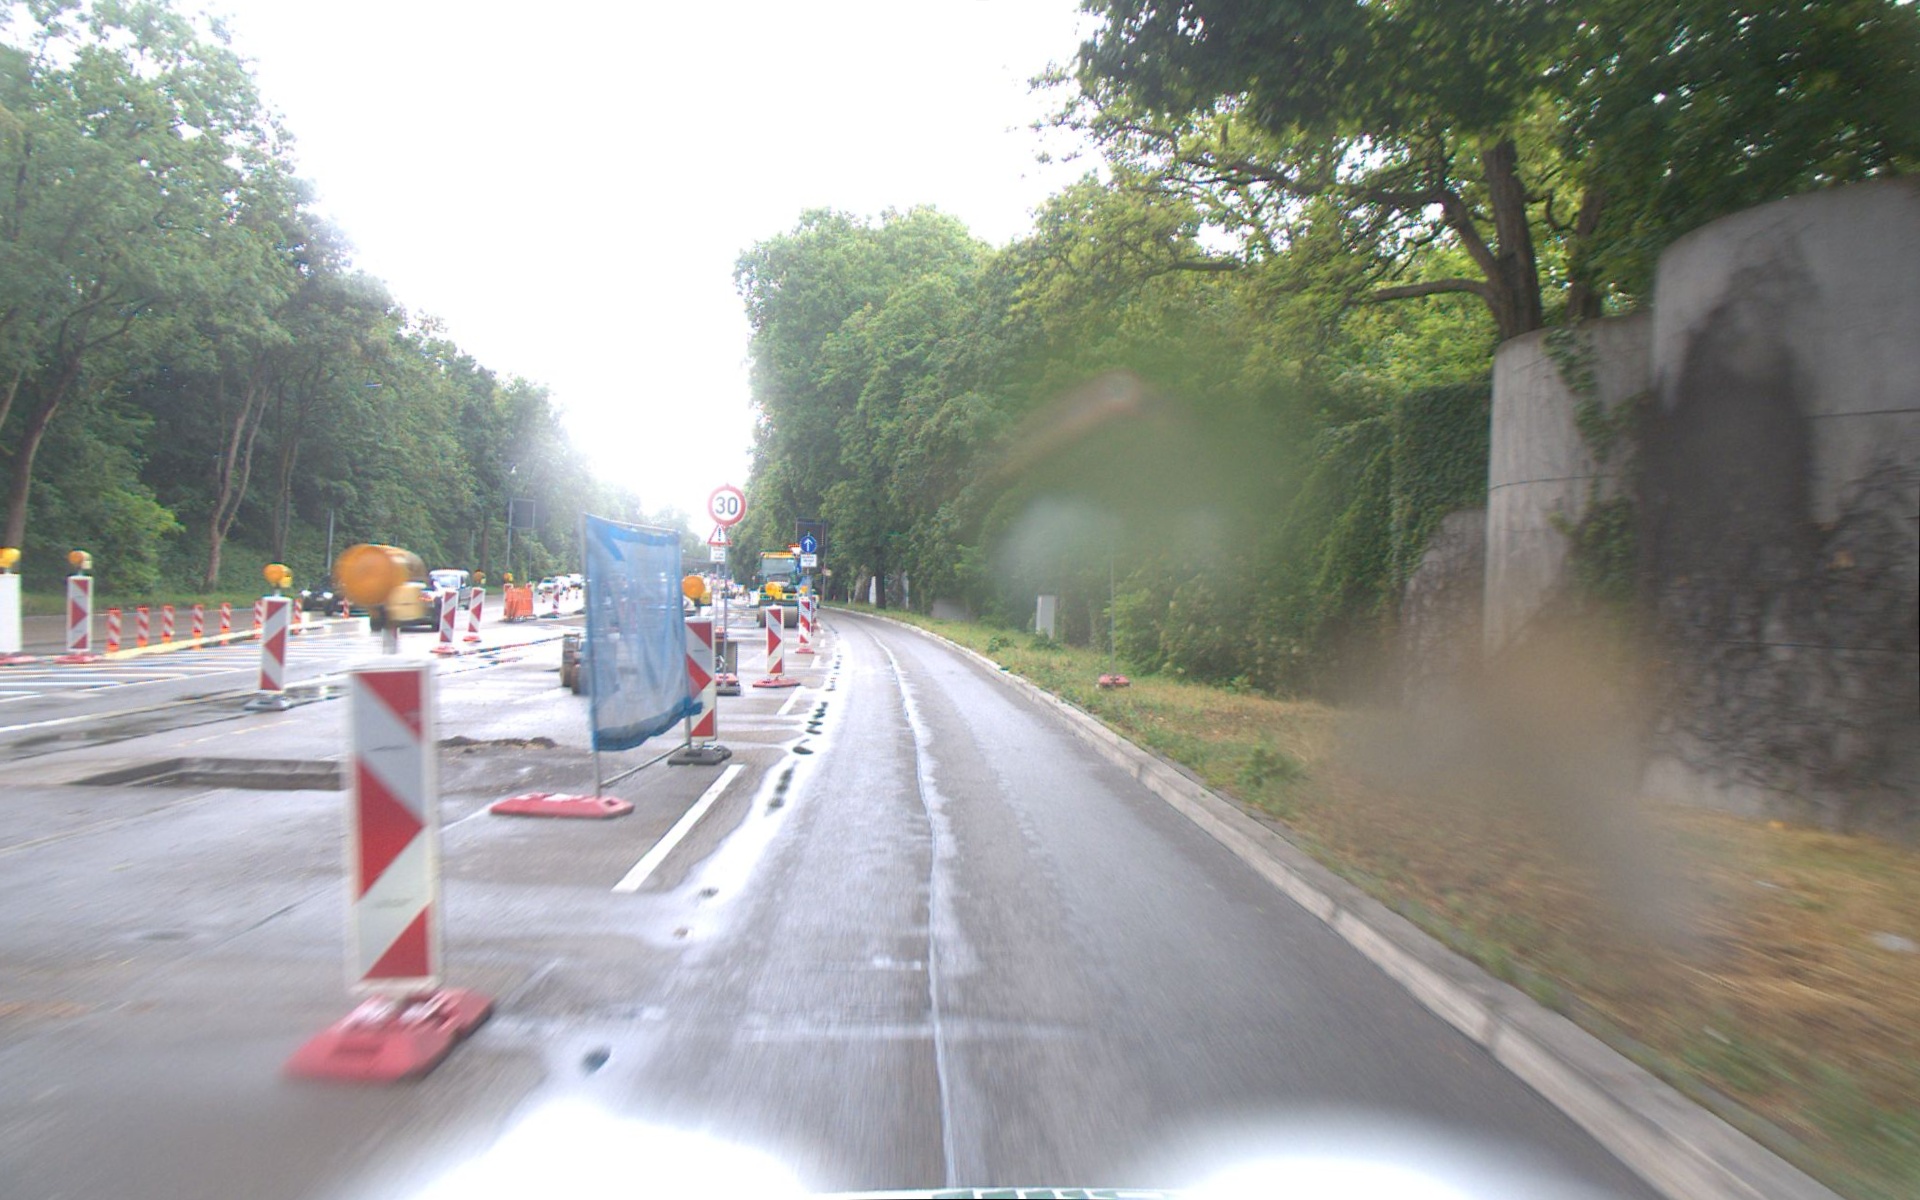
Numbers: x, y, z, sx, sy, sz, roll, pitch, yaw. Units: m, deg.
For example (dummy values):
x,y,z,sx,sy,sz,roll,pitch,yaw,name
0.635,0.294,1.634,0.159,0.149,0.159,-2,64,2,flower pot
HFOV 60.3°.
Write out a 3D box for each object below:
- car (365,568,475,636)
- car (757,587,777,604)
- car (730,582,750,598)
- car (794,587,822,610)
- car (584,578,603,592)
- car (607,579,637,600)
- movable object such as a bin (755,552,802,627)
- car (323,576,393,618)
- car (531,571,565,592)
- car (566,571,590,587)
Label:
x,y,z,sx,sy,sz,roll,pitch,yaw,name
-14.462,0.008,44.478,1.826,1.517,3.998,3,2,-4,car
-17.745,-0.455,152.026,1.724,1.367,3.993,3,1,-8,car
-24.470,-1.090,183.904,1.838,1.646,3.998,2,1,-3,car
-11.680,-0.108,127.293,1.876,1.625,4.831,3,1,-3,car
-44.841,-1.855,202.363,1.891,1.694,4.645,1,0,-7,car
-30.311,-0.938,148.454,1.889,1.809,4.649,1,0,-3,car
-7.304,-0.406,66.773,1.712,2.917,3.531,1,0,-5,movable object such as a bin
-21.228,-0.122,58.412,1.400,1.431,3.820,1,0,-6,car
-34.483,-1.503,138.556,1.889,1.694,4.649,1,0,-3,car
-43.316,-2.389,187.658,1.889,1.694,4.649,1,0,-3,car
